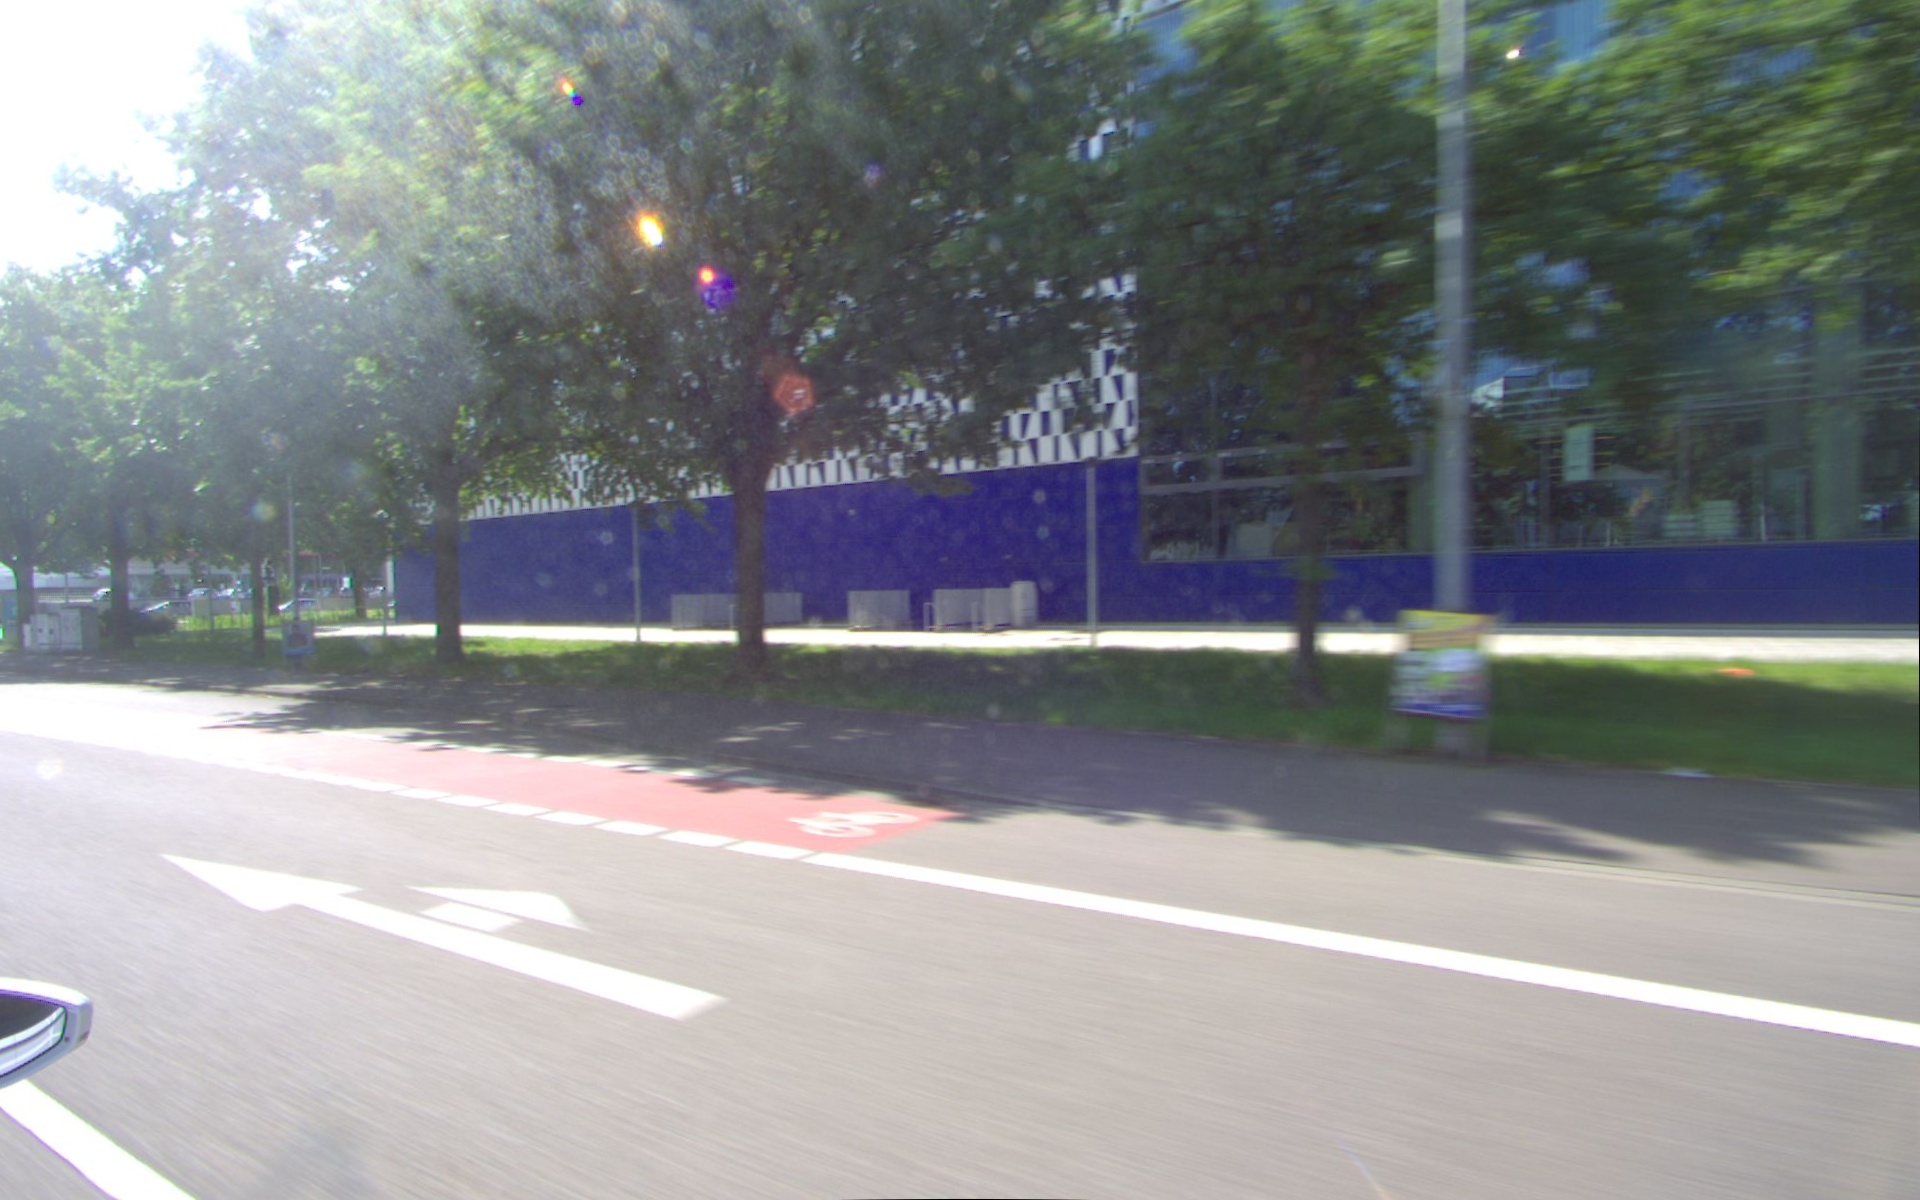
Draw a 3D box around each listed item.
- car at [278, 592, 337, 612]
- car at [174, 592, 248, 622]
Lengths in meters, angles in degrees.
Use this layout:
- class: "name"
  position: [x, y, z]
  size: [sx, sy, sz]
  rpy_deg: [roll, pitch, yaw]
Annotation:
- class: "car"
  position: [-58.373, 0.162, 89.687]
  size: [1.462, 1.540, 4.114]
  rpy_deg: [0, 4, 37]
- class: "car"
  position: [-59.224, 0.517, 79.233]
  size: [1.462, 2.022, 4.383]
  rpy_deg: [0, 4, 37]
